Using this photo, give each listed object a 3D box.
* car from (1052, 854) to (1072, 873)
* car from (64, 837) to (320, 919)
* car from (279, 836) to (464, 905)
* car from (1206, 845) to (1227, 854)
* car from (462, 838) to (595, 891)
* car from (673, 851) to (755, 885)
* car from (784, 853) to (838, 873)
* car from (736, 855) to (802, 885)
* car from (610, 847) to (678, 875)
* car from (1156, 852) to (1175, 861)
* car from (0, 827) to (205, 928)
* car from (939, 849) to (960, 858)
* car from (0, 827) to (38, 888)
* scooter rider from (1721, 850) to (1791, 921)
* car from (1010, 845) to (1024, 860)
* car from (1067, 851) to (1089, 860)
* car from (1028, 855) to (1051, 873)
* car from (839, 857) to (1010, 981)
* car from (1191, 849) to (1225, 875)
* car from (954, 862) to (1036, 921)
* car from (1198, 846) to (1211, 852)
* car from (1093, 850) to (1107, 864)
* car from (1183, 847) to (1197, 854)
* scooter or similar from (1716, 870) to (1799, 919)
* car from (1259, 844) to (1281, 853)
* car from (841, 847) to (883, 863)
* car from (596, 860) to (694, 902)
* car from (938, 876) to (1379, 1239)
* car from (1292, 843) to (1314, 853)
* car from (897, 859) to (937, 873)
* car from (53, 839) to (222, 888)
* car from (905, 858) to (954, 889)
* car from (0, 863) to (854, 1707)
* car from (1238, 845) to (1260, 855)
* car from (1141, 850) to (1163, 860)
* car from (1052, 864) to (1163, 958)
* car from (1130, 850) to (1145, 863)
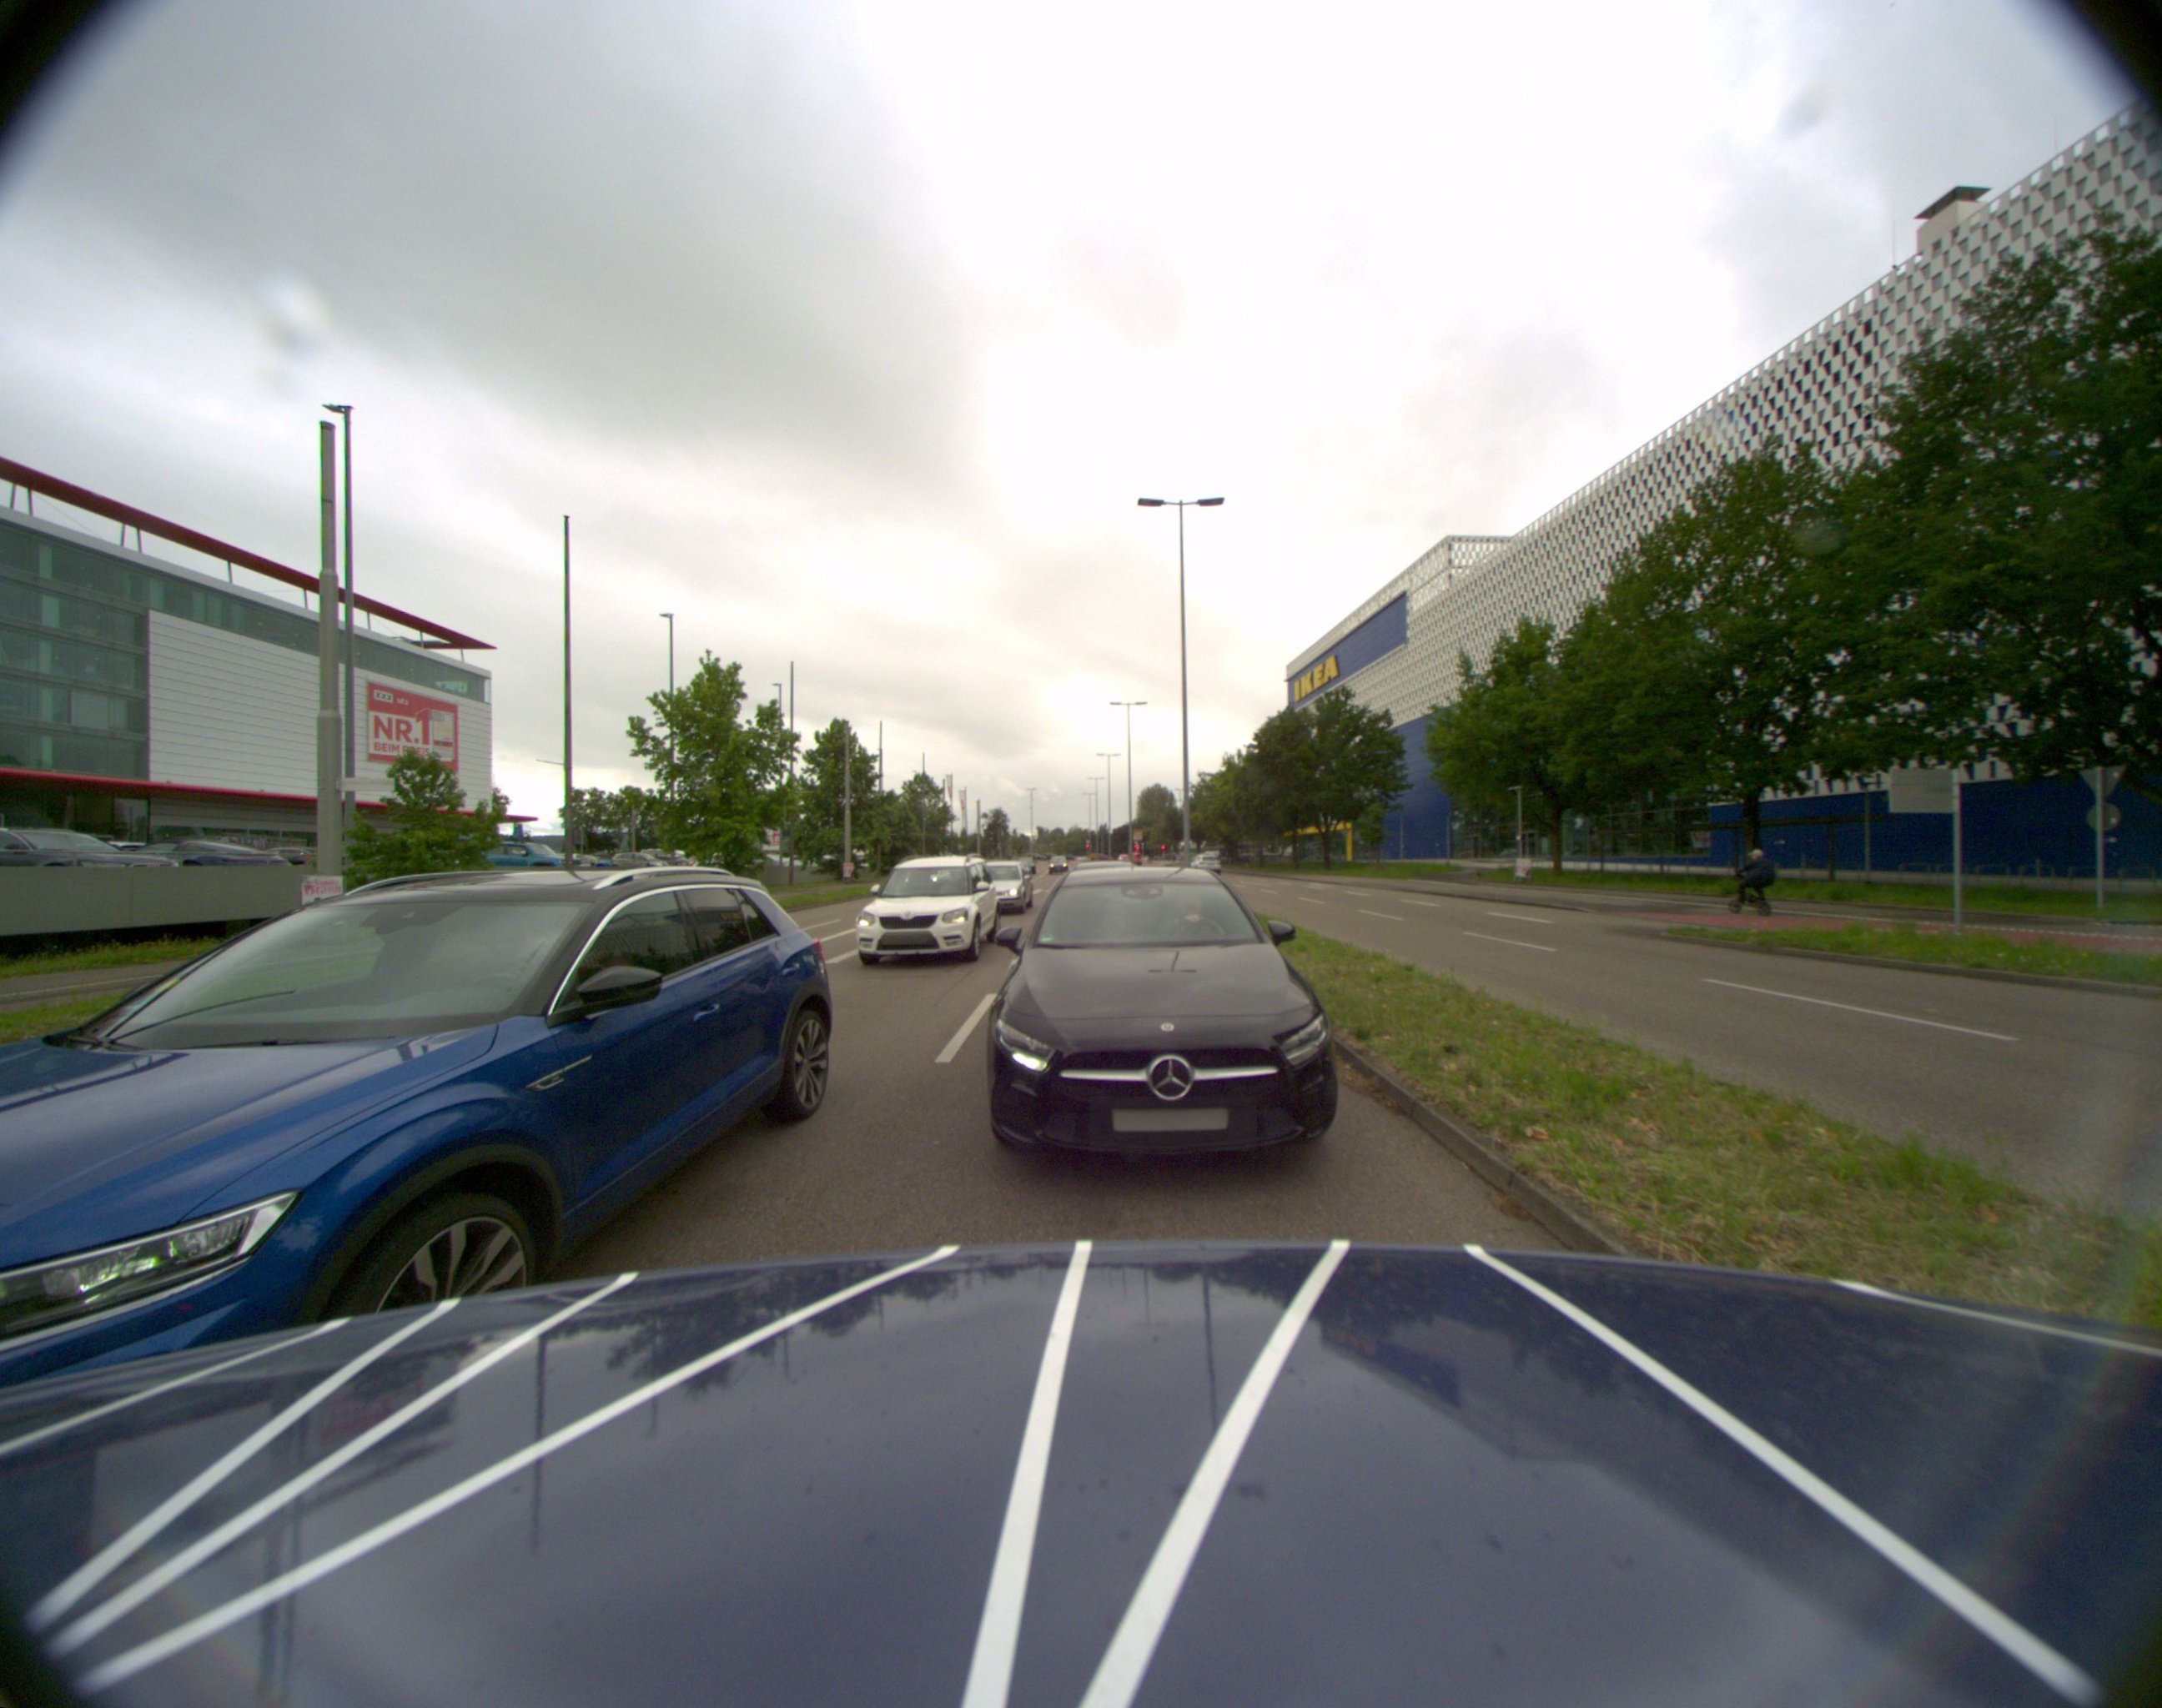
[{"bbox_3d":[-1.825,0.896,73.707,1.801,1.565,4.218,-1,1,1],"label":"car"},{"bbox_3d":[-22.649,0.579,19.511,3.998,1.838,1.999,-2,1,-2],"label":"car"},{"bbox_3d":[-23.031,0.503,24.813,3.997,2.002,1.999,-2,1,-2],"label":"car"},{"bbox_3d":[32.293,-1.015,181.181,4.708,2.002,1.999,-2,1,-2],"label":"car"},{"bbox_3d":[-23.161,0.428,31.982,3.997,2.002,1.999,-2,1,-2],"label":"car"},{"bbox_3d":[-24.043,0.886,49.960,4.324,2.002,1.999,-2,1,-2],"label":"car"},{"bbox_3d":[-23.624,0.766,66.487,3.997,1.556,1.796,-2,1,1],"label":"car"},{"bbox_3d":[-23.244,1.184,56.649,3.997,2.002,2.000,-2,1,0],"label":"car"},{"bbox_3d":[-33.820,0.537,58.937,3.997,2.002,1.999,-2,1,-2],"label":"car"},{"bbox_3d":[19.210,0.523,172.591,3.997,2.002,1.999,-2,1,-2],"label":"car"},{"bbox_3d":[-22.604,0.528,16.521,4.529,2.002,1.999,-2,1,-2],"label":"car"},{"bbox_3d":[-26.570,-0.123,153.992,3.999,1.786,1.999,0,0,-6],"label":"car"},{"bbox_3d":[-37.263,0.200,24.576,4.178,2.002,2.000,-2,1,0],"label":"car"},{"bbox_3d":[16.977,0.762,19.130,0.798,1.710,1.038,-2,1,-16],"label":"scooter rider"},{"bbox_3d":[-10.126,-0.252,119.876,1.999,2.229,3.999,0,0,-2],"label":"car"},{"bbox_3d":[-0.739,0.368,182.028,5.089,2.002,1.999,-2,1,-2],"label":"car"},{"bbox_3d":[-4.015,0.964,73.845,1.798,1.615,4.374,-2,1,1],"label":"car"},{"bbox_3d":[-2.398,0.921,12.823,1.798,1.615,4.374,-2,1,1],"label":"car"},{"bbox_3d":[9.810,0.600,59.079,1.847,1.875,3.924,-2,1,-1],"label":"car"},{"bbox_3d":[-2.374,1.006,21.996,1.801,1.407,4.218,-2,1,1],"label":"car"},{"bbox_3d":[38.891,-1.622,239.172,3.565,1.630,1.743,-2,1,-3],"label":"car"},{"bbox_3d":[2.950,0.484,118.611,1.999,2.206,3.999,0,0,-2],"label":"car"},{"bbox_3d":[34.269,-1.092,238.920,4.290,1.813,1.743,-2,1,-3],"label":"car"},{"bbox_3d":[16.991,0.997,19.121,0.590,1.119,1.423,-5,2,-16],"label":"scooter or similar"},{"bbox_3d":[39.877,-1.217,160.008,3.999,1.805,1.998,-2,1,-7],"label":"car"},{"bbox_3d":[-24.164,0.082,83.962,3.997,1.556,1.796,-2,1,1],"label":"car"},{"bbox_3d":[-23.372,1.418,40.876,3.997,2.002,1.999,-2,1,-2],"label":"car"},{"bbox_3d":[0.364,0.948,5.396,1.859,1.426,4.197,-2,0,1],"label":"car"},{"bbox_3d":[46.921,-1.299,160.587,3.999,1.805,1.998,-2,1,-7],"label":"car"},{"bbox_3d":[-19.192,1.388,89.109,4.216,1.407,1.802,-2,1,0],"label":"car"},{"bbox_3d":[-37.351,0.353,30.180,3.998,1.729,1.999,-2,1,-2],"label":"car"},{"bbox_3d":[-7.640,0.951,38.654,1.694,1.364,3.925,-2,1,-1],"label":"car"},{"bbox_3d":[-2.584,0.931,3.097,1.846,1.612,4.332,-2,1,1],"label":"car"},{"bbox_3d":[30.326,-0.672,137.064,3.565,1.630,1.743,-2,1,-3],"label":"car"},{"bbox_3d":[17.009,0.253,182.830,5.089,2.002,1.999,-2,1,-2],"label":"car"},{"bbox_3d":[0.457,0.968,14.568,1.767,1.370,4.258,-2,1,1],"label":"car"},{"bbox_3d":[8.489,0.358,115.251,1.847,1.709,3.924,-2,1,-1],"label":"car"}]
